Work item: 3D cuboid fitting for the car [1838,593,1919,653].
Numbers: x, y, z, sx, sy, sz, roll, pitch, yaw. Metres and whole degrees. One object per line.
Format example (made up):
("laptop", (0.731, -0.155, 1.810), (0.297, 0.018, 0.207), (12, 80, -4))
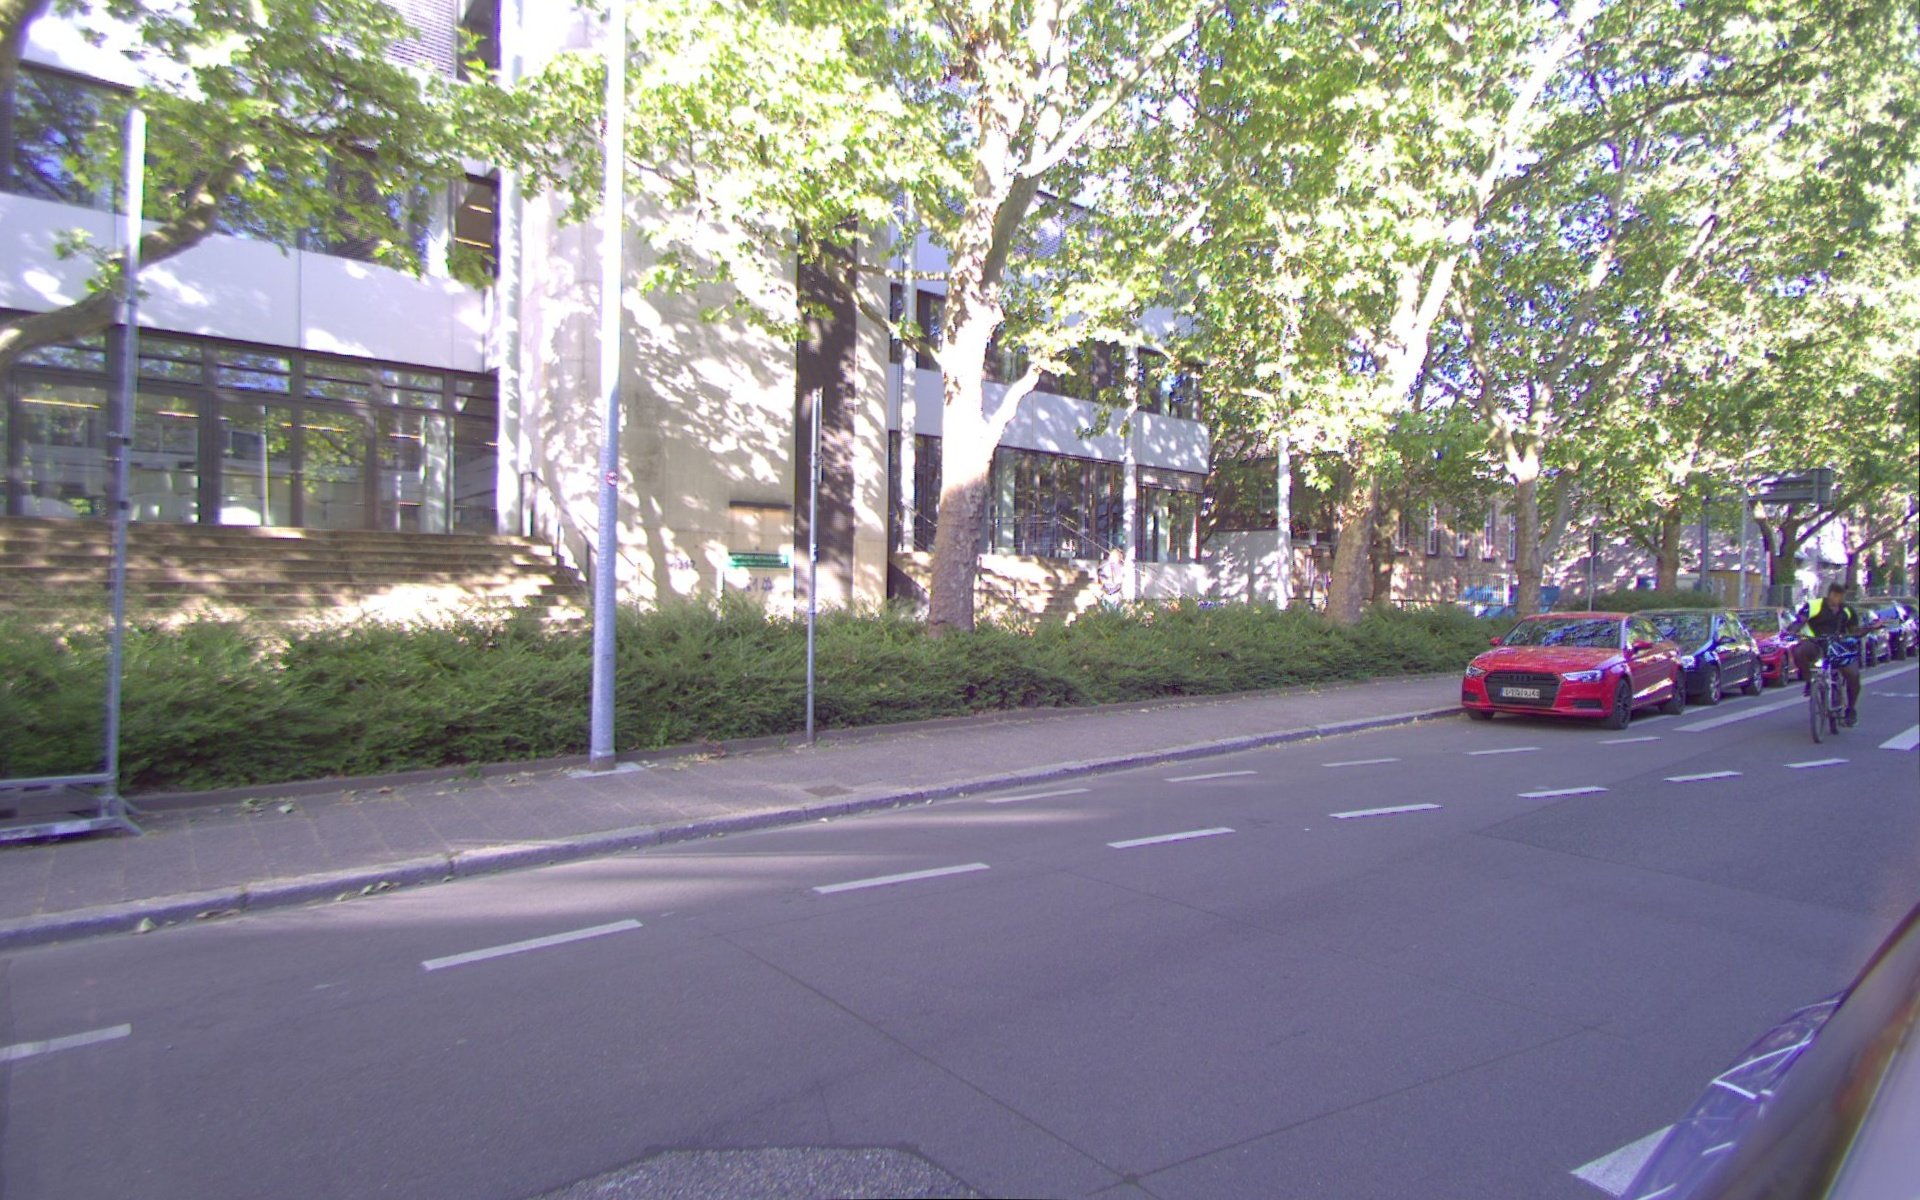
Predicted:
("car", (26.629, 0.602, 29.047), (4.158, 1.598, 1.632), (-1, 0, -41))

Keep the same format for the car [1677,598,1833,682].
("car", (15.739, 0.707, 19.975), (3.854, 1.467, 1.691), (-1, 0, -40))

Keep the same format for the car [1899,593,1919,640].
("car", (35.531, 0.571, 36.787), (4.497, 1.633, 1.632), (-1, 0, -41))

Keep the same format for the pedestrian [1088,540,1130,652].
("pedestrian", (2.759, -0.081, 18.733), (0.549, 2.039, 0.555), (0, 0, 38))

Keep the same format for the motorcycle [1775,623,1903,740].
("motorcycle", (10.026, 0.867, 11.511), (2.197, 1.146, 0.798), (-1, 0, -41))

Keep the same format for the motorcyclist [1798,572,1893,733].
("motorcyclist", (10.158, 0.567, 11.614), (0.738, 1.765, 0.718), (0, 0, -41))

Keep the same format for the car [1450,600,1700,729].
("car", (8.297, 0.736, 13.518), (3.931, 1.409, 1.792), (-1, 0, -42))

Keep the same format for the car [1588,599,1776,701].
("car", (11.851, 0.729, 16.548), (3.632, 1.436, 1.668), (-1, 0, -40))

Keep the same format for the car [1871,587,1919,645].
("car", (31.167, 0.471, 33.016), (4.497, 1.814, 1.632), (-1, 0, -41))

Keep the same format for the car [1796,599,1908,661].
("car", (22.944, 0.710, 25.990), (3.855, 1.441, 1.691), (-1, 0, -41))
